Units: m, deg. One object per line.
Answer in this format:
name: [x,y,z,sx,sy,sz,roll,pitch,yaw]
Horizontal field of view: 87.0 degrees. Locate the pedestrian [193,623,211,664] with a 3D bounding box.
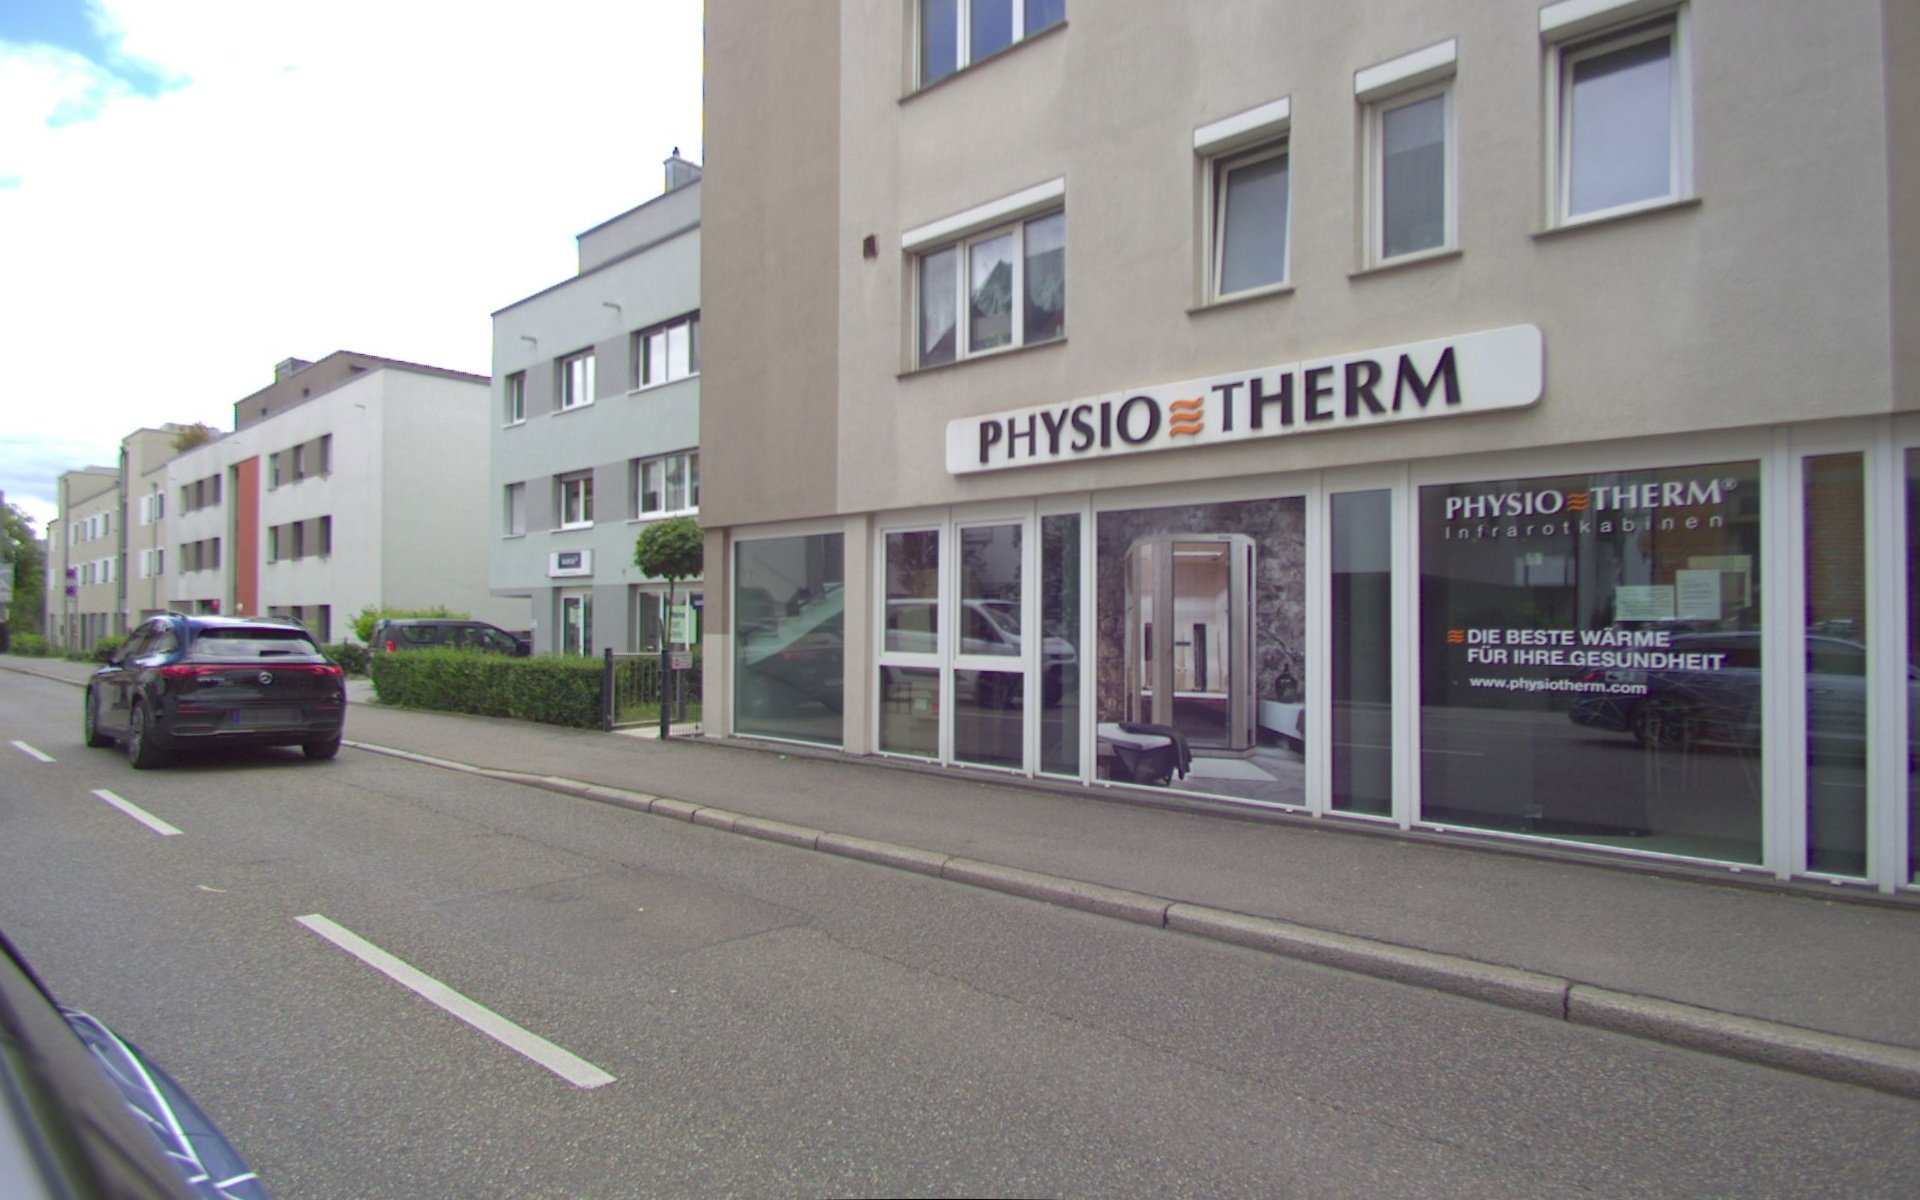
pedestrian: [-31.160,1.774,41.624,0.511,1.655,0.642,0,-2,-31]

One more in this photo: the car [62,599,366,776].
car: [-9.199,0.965,12.332,4.551,1.752,1.973,-2,-4,41]

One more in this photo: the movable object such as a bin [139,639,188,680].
movable object such as a bin: [-23.022,1.705,29.261,0.748,1.160,0.939,-2,-2,37]

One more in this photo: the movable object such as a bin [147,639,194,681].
movable object such as a bin: [-22.472,1.694,28.804,0.612,1.160,0.932,-2,-2,37]

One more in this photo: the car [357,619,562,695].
car: [-12.040,1.307,24.517,1.725,1.680,4.116,-1,-2,45]

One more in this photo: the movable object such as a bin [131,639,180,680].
movable object such as a bin: [-23.698,1.736,29.797,0.839,1.160,0.947,-2,-2,37]

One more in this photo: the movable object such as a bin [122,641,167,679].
movable object such as a bin: [-24.419,1.783,30.317,0.791,1.097,0.886,-2,-2,37]
